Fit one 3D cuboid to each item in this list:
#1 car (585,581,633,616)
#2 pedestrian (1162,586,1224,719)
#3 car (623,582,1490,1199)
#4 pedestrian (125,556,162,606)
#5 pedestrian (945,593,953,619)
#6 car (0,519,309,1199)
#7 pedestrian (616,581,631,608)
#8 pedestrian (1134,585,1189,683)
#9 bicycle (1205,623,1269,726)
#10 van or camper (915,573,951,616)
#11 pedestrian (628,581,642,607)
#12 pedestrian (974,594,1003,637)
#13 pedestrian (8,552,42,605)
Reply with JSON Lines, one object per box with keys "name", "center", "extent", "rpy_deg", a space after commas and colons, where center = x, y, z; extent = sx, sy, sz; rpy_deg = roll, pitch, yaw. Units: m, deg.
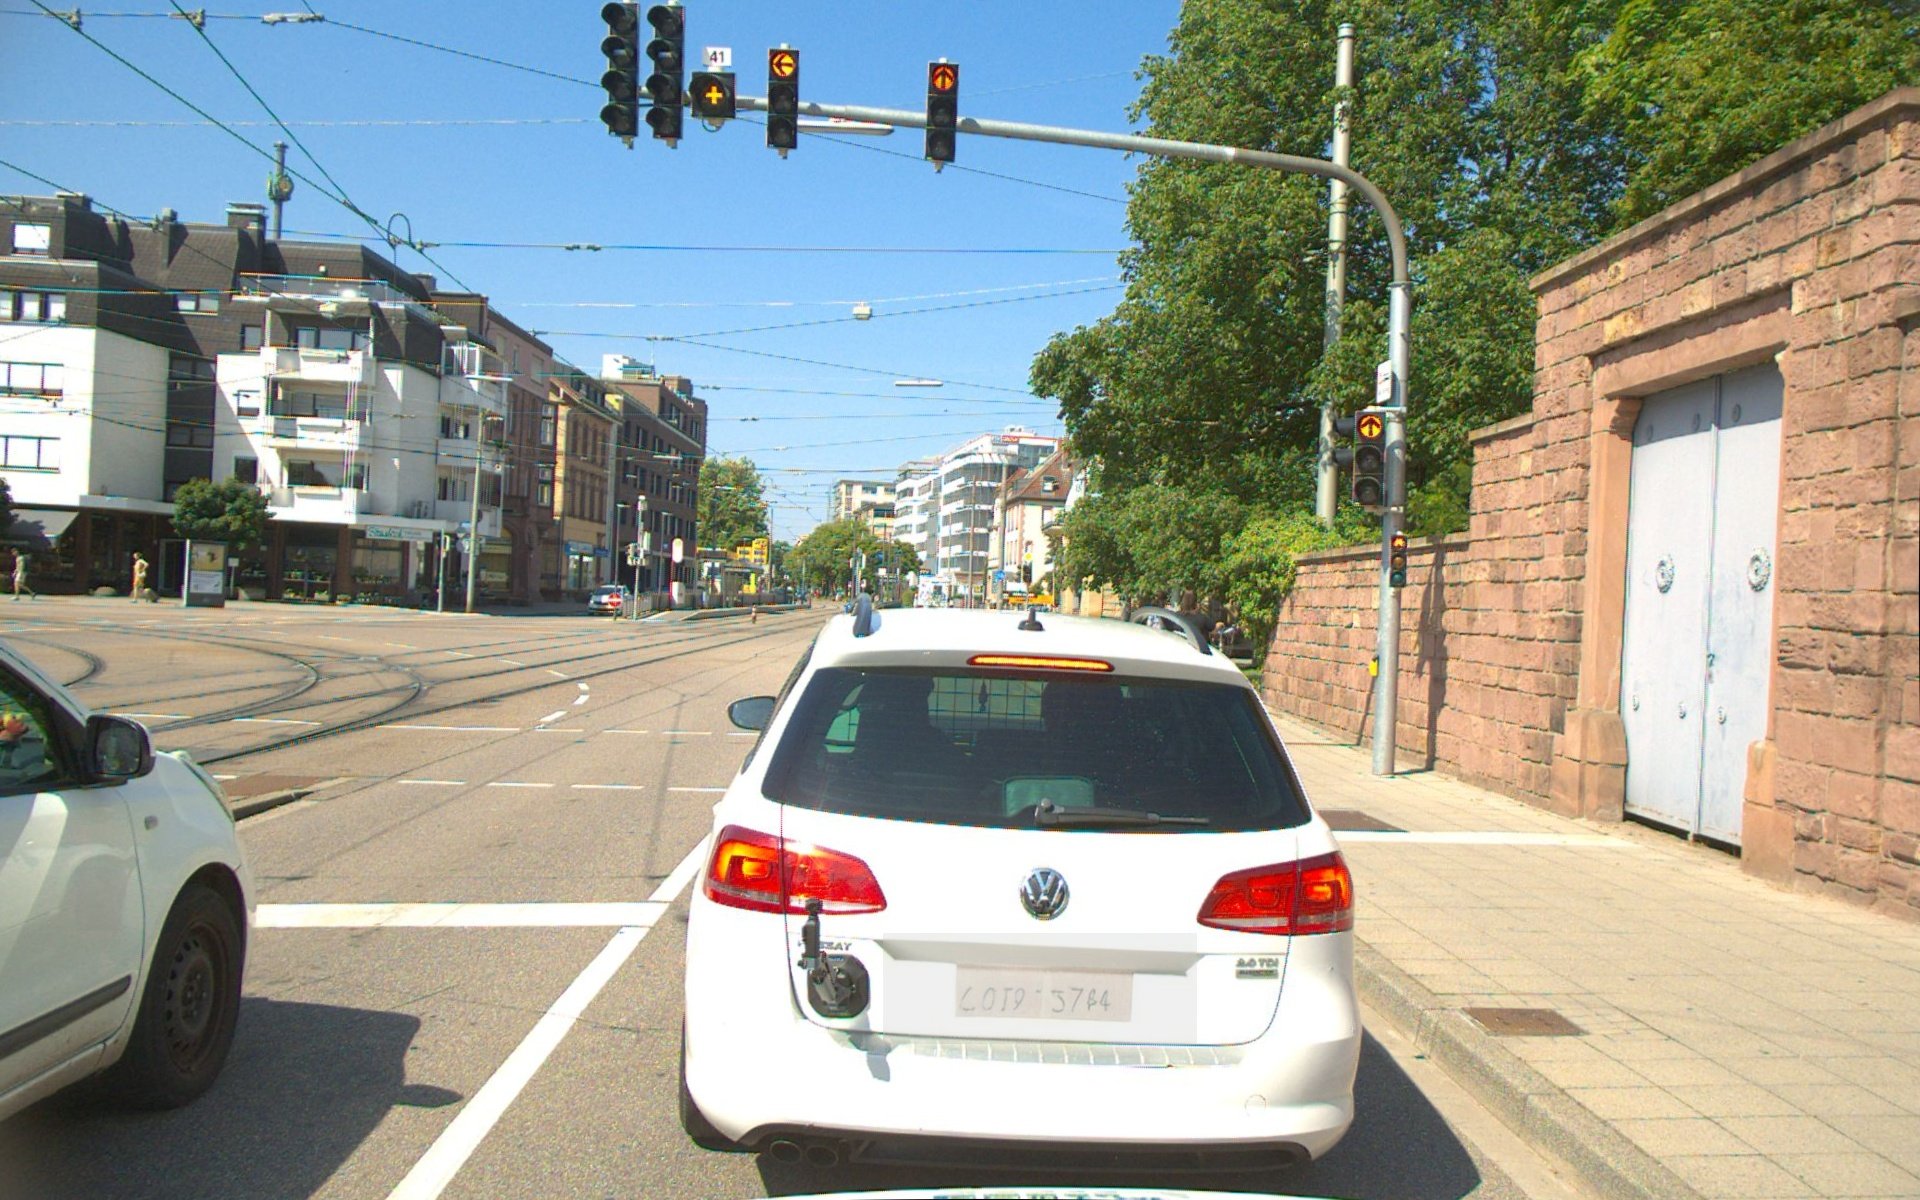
{"name": "car", "center": [-17.024, -0.060, 80.278], "extent": [1.706, 1.646, 3.996], "rpy_deg": [0, -1, -4]}
{"name": "pedestrian", "center": [2.871, 0.630, 20.384], "extent": [0.659, 1.599, 0.749], "rpy_deg": [1, 1, 14]}
{"name": "car", "center": [0.168, 0.717, 5.435], "extent": [1.771, 1.473, 3.999], "rpy_deg": [2, 0, -1]}
{"name": "pedestrian", "center": [-29.353, -0.666, 59.465], "extent": [0.966, 1.773, 0.851], "rpy_deg": [1, -1, -42]}
{"name": "pedestrian", "center": [-1.008, 0.555, 155.615], "extent": [0.675, 2.366, 1.232], "rpy_deg": [0, -1, 0]}
{"name": "car", "center": [-2.833, 0.620, 3.303], "extent": [1.608, 1.593, 3.803], "rpy_deg": [1, 1, -1]}
{"name": "pedestrian", "center": [-22.047, -0.354, 108.511], "extent": [0.845, 1.773, 0.973], "rpy_deg": [1, -1, -6]}
{"name": "pedestrian", "center": [3.517, 0.592, 28.918], "extent": [0.932, 1.680, 0.975], "rpy_deg": [0, -1, 5]}
{"name": "bicycle", "center": [3.421, 0.883, 20.327], "extent": [0.693, 1.109, 2.028], "rpy_deg": [1, 2, 12]}
{"name": "van or camper", "center": [-2.078, -0.392, 124.695], "extent": [2.515, 3.147, 5.699], "rpy_deg": [0, -1, -2]}
{"name": "pedestrian", "center": [-22.681, -0.433, 115.377], "extent": [0.845, 1.773, 0.973], "rpy_deg": [1, -1, -6]}
{"name": "pedestrian", "center": [1.213, 0.648, 69.473], "extent": [0.952, 1.773, 0.864], "rpy_deg": [0, -1, 24]}
{"name": "pedestrian", "center": [-31.934, -0.739, 56.494], "extent": [0.962, 1.773, 0.855], "rpy_deg": [1, -1, -33]}
